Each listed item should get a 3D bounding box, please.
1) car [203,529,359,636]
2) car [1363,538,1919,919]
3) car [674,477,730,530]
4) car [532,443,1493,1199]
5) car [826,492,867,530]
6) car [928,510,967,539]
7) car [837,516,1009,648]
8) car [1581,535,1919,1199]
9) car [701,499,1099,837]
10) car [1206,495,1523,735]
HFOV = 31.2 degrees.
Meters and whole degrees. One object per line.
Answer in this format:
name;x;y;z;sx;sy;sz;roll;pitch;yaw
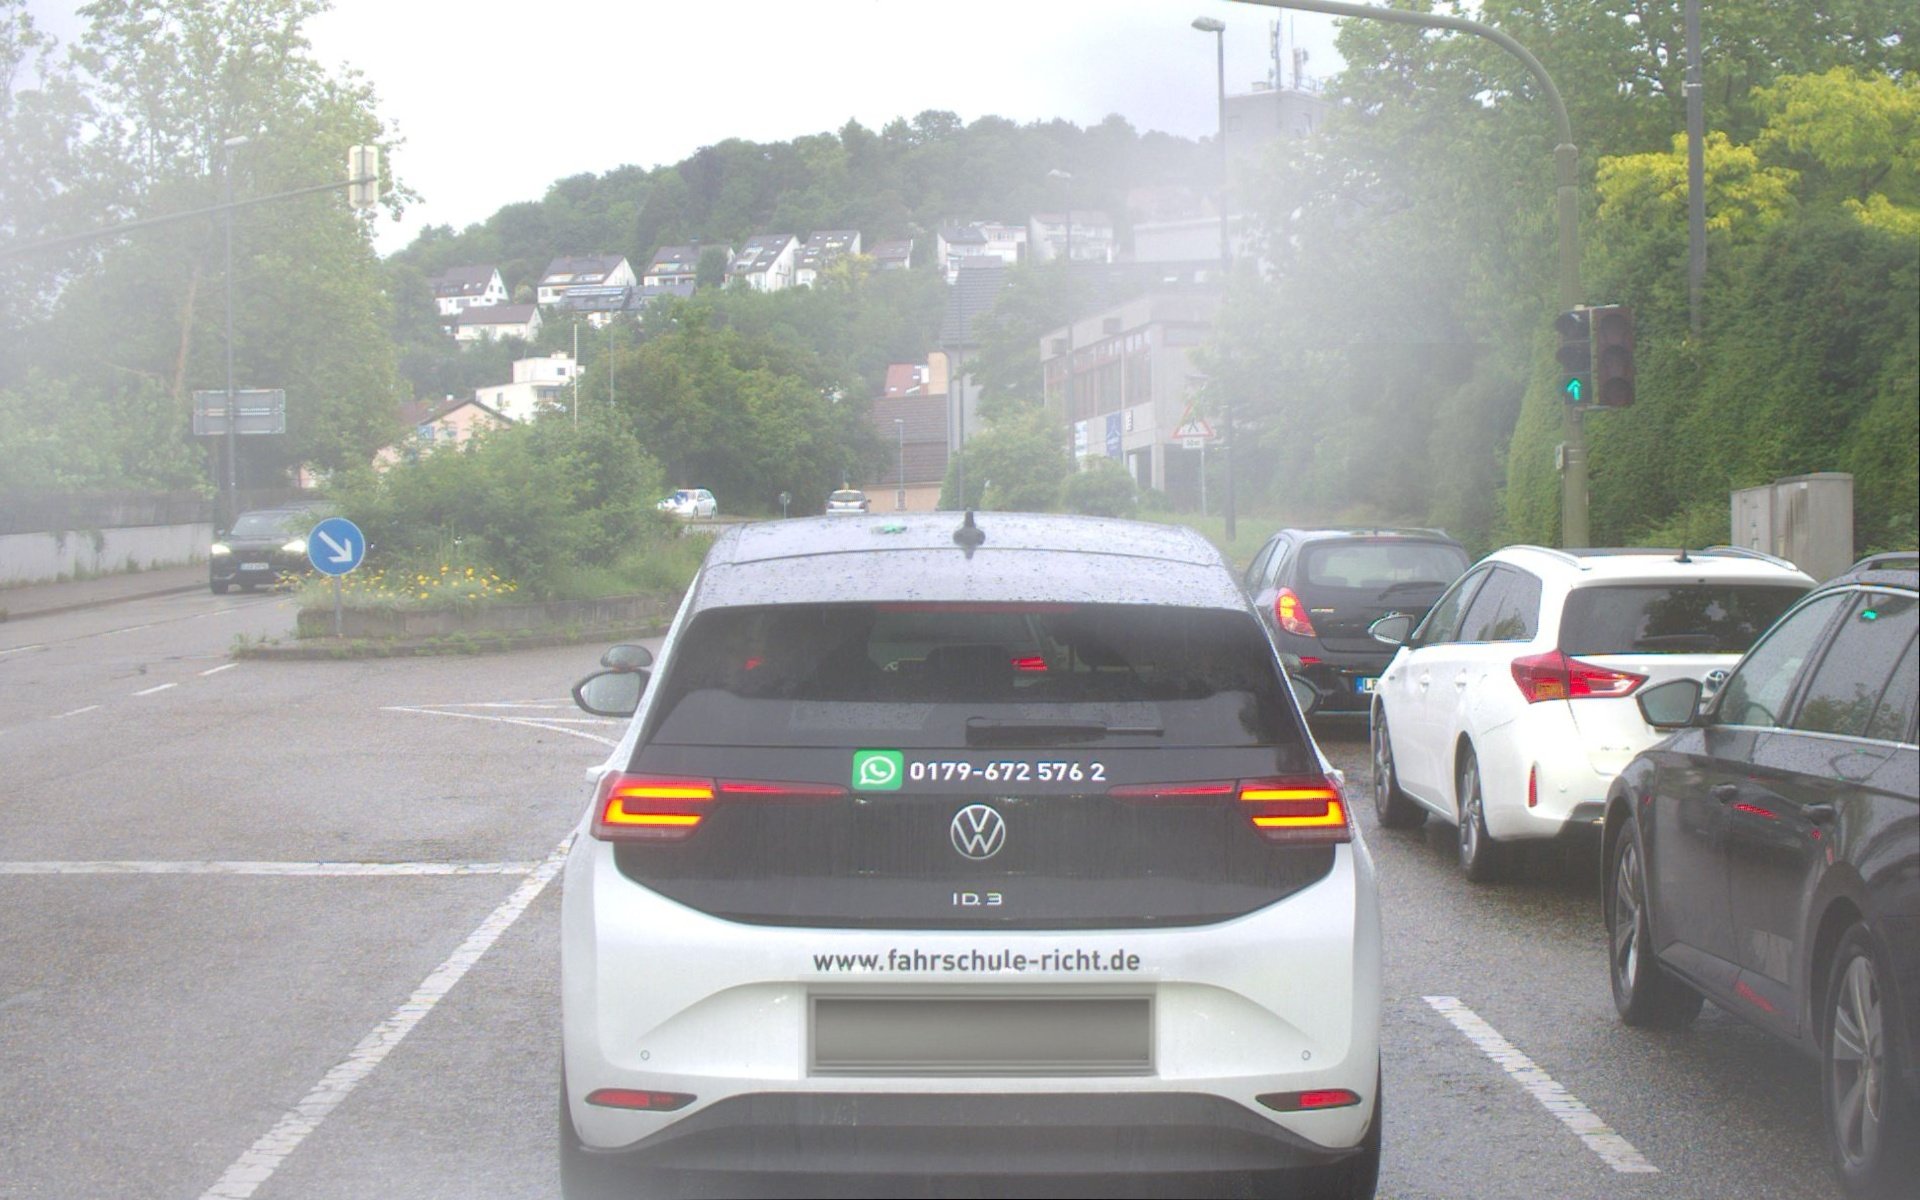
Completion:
car;-12.405;-0.341;63.039;1.993;1.798;4.000;-3;1;0
car;3.064;0.479;15.765;1.837;1.461;4.117;1;1;-1
car;-10.507;-3.921;140.335;1.993;2.007;4.000;1;0;0
car;0.053;0.471;8.997;1.837;1.623;4.616;1;1;-1
car;-4.585;-3.584;138.801;1.581;1.462;4.000;-1;1;-1
car;-0.655;-3.862;174.618;1.761;1.413;3.749;-1;2;-3
car;-0.440;-0.238;39.223;1.837;1.395;3.831;1;1;-1
car;2.883;0.596;8.751;1.838;1.461;4.350;1;1;1
car;-0.324;0.271;18.249;1.837;1.549;4.175;1;1;-1
car;2.854;0.077;25.037;1.775;1.576;4.000;1;1;0
